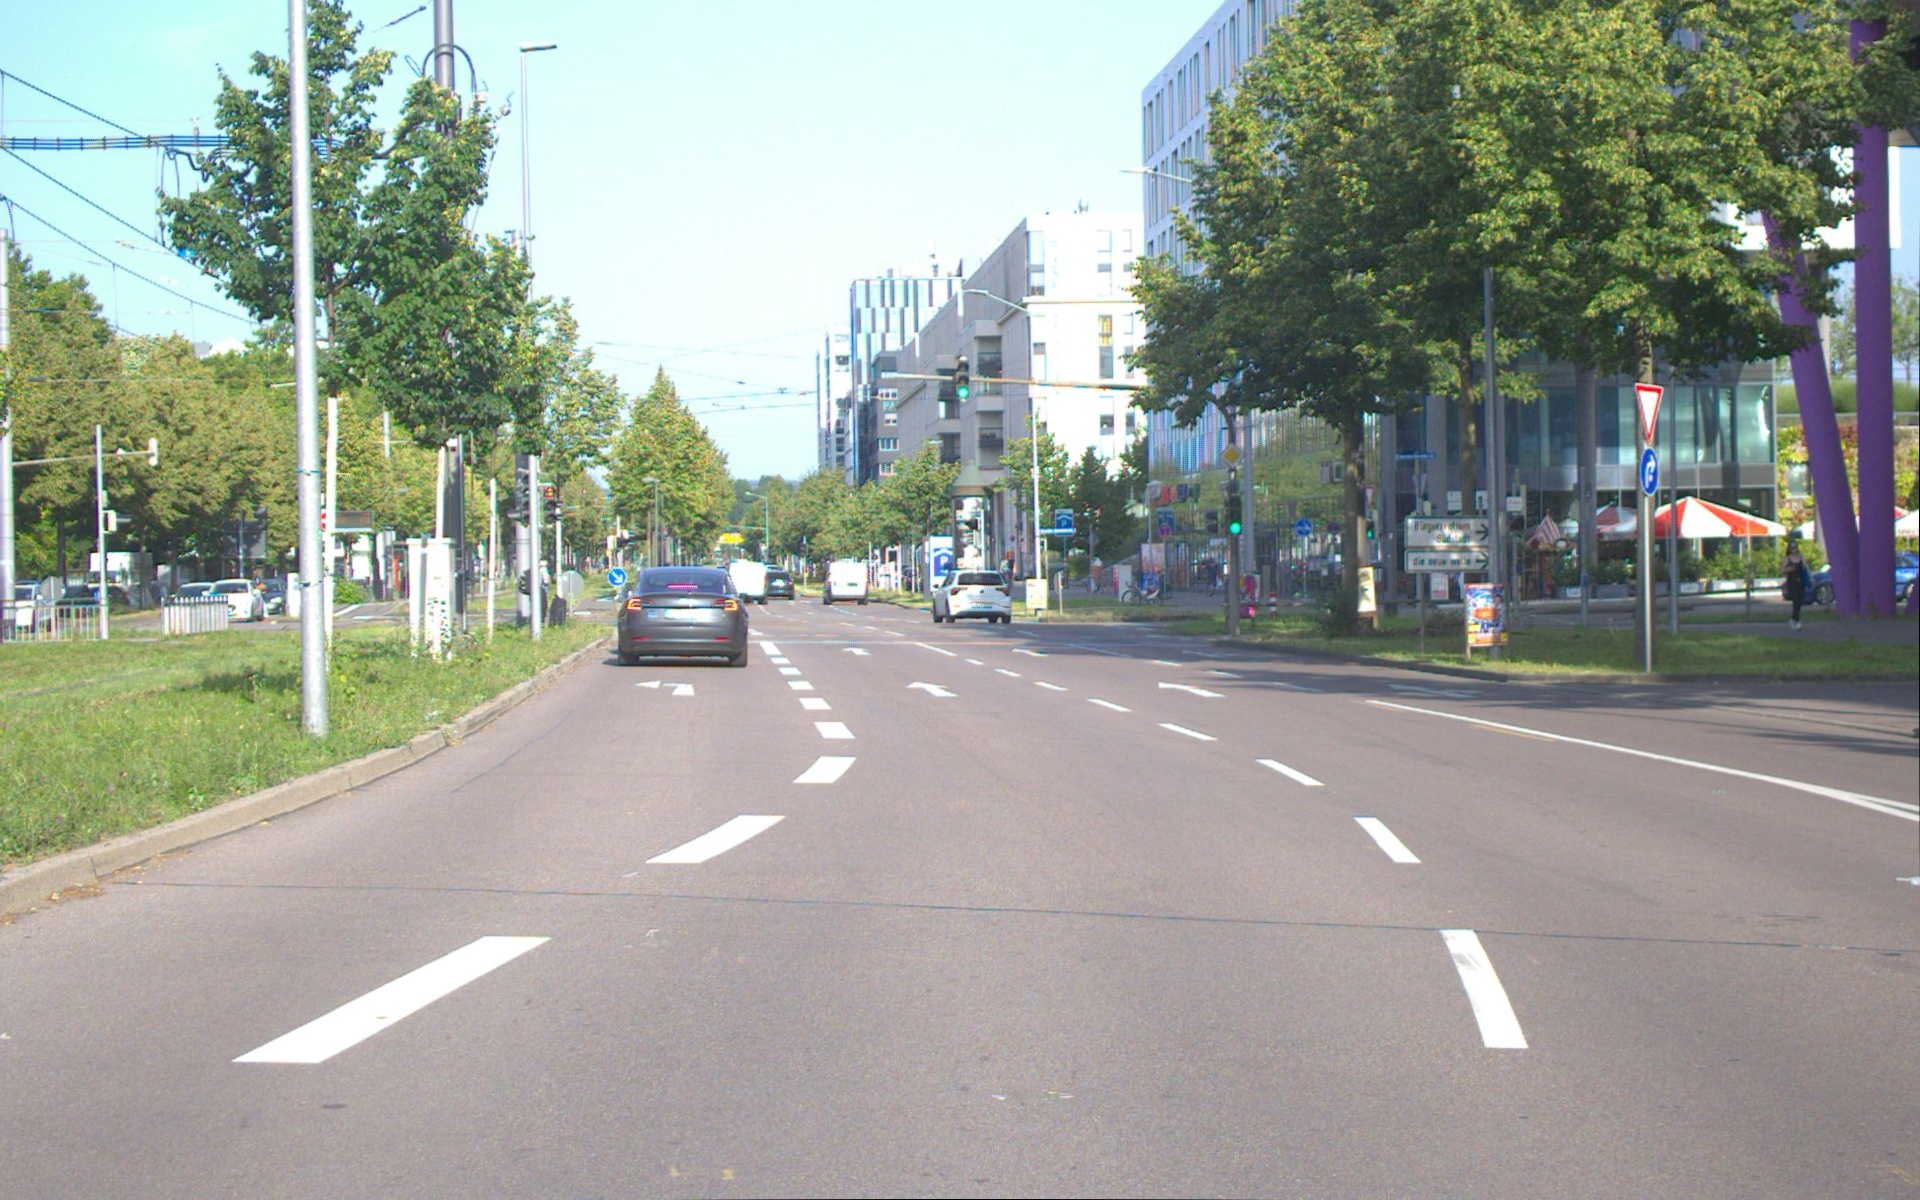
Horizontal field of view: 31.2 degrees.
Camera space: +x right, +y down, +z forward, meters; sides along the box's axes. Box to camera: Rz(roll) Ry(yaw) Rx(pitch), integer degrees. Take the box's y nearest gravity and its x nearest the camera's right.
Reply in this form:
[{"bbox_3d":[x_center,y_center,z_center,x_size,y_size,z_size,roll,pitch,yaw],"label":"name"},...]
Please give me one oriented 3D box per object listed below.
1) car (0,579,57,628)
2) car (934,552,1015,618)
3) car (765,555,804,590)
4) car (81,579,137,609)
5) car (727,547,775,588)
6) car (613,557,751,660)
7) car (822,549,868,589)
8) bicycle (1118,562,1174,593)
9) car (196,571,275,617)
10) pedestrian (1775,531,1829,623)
[{"bbox_3d":[-30.668,0.109,111.405,1.905,1.522,4.442,-1,1,-4],"label":"car"},{"bbox_3d":[0.366,-0.418,91.304,1.864,1.678,4.001,1,1,-3],"label":"car"},{"bbox_3d":[-8.776,-1.387,171.679,1.923,1.678,4.001,1,1,-3],"label":"car"},{"bbox_3d":[-45.528,-0.309,184.026,1.881,1.554,4.000,-1,0,1],"label":"car"},{"bbox_3d":[-9.022,-1.410,148.224,2.014,1.678,4.001,1,1,-3],"label":"car"},{"bbox_3d":[-4.028,0.089,49.945,1.889,1.381,4.335,1,1,-4],"label":"car"},{"bbox_3d":[-5.003,-1.346,149.594,1.864,1.678,4.001,1,1,-3],"label":"car"},{"bbox_3d":[6.431,-0.782,118.985,1.877,1.029,0.772,0,1,43],"label":"bicycle"},{"bbox_3d":[-24.771,-0.222,117.691,1.993,1.499,4.093,-2,1,-3],"label":"car"},{"bbox_3d":[15.335,-0.425,62.613,0.694,1.633,0.737,-3,1,-5],"label":"pedestrian"}]
